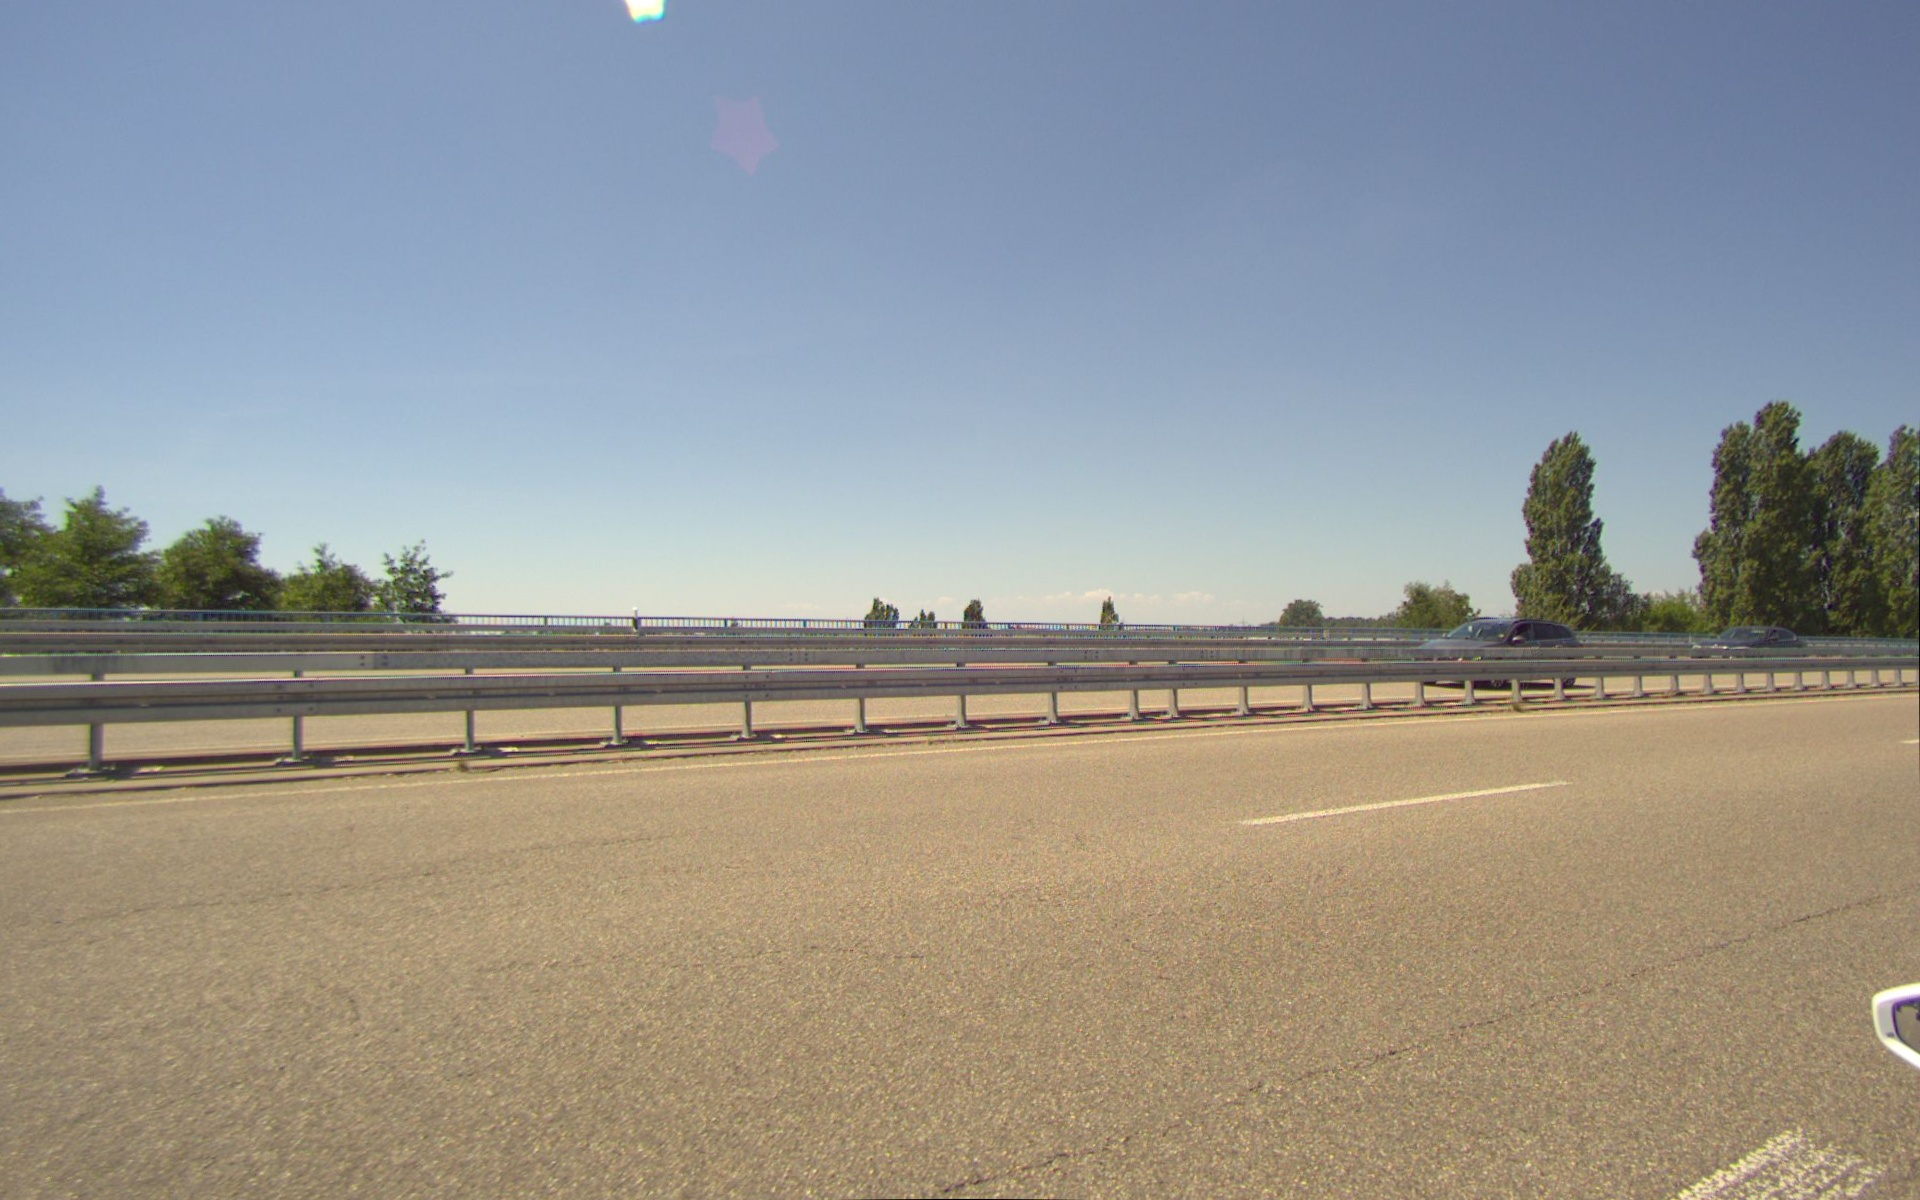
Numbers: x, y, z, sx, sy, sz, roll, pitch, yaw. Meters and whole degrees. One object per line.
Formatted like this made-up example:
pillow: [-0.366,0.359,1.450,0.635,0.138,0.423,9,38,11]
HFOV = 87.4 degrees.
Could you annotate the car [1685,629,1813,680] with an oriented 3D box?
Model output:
car: [28.074,1.959,35.708,4.990,1.689,1.835,3,-2,-30]

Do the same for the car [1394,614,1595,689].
car: [12.202,1.119,22.861,4.628,1.525,1.896,1,0,-30]
